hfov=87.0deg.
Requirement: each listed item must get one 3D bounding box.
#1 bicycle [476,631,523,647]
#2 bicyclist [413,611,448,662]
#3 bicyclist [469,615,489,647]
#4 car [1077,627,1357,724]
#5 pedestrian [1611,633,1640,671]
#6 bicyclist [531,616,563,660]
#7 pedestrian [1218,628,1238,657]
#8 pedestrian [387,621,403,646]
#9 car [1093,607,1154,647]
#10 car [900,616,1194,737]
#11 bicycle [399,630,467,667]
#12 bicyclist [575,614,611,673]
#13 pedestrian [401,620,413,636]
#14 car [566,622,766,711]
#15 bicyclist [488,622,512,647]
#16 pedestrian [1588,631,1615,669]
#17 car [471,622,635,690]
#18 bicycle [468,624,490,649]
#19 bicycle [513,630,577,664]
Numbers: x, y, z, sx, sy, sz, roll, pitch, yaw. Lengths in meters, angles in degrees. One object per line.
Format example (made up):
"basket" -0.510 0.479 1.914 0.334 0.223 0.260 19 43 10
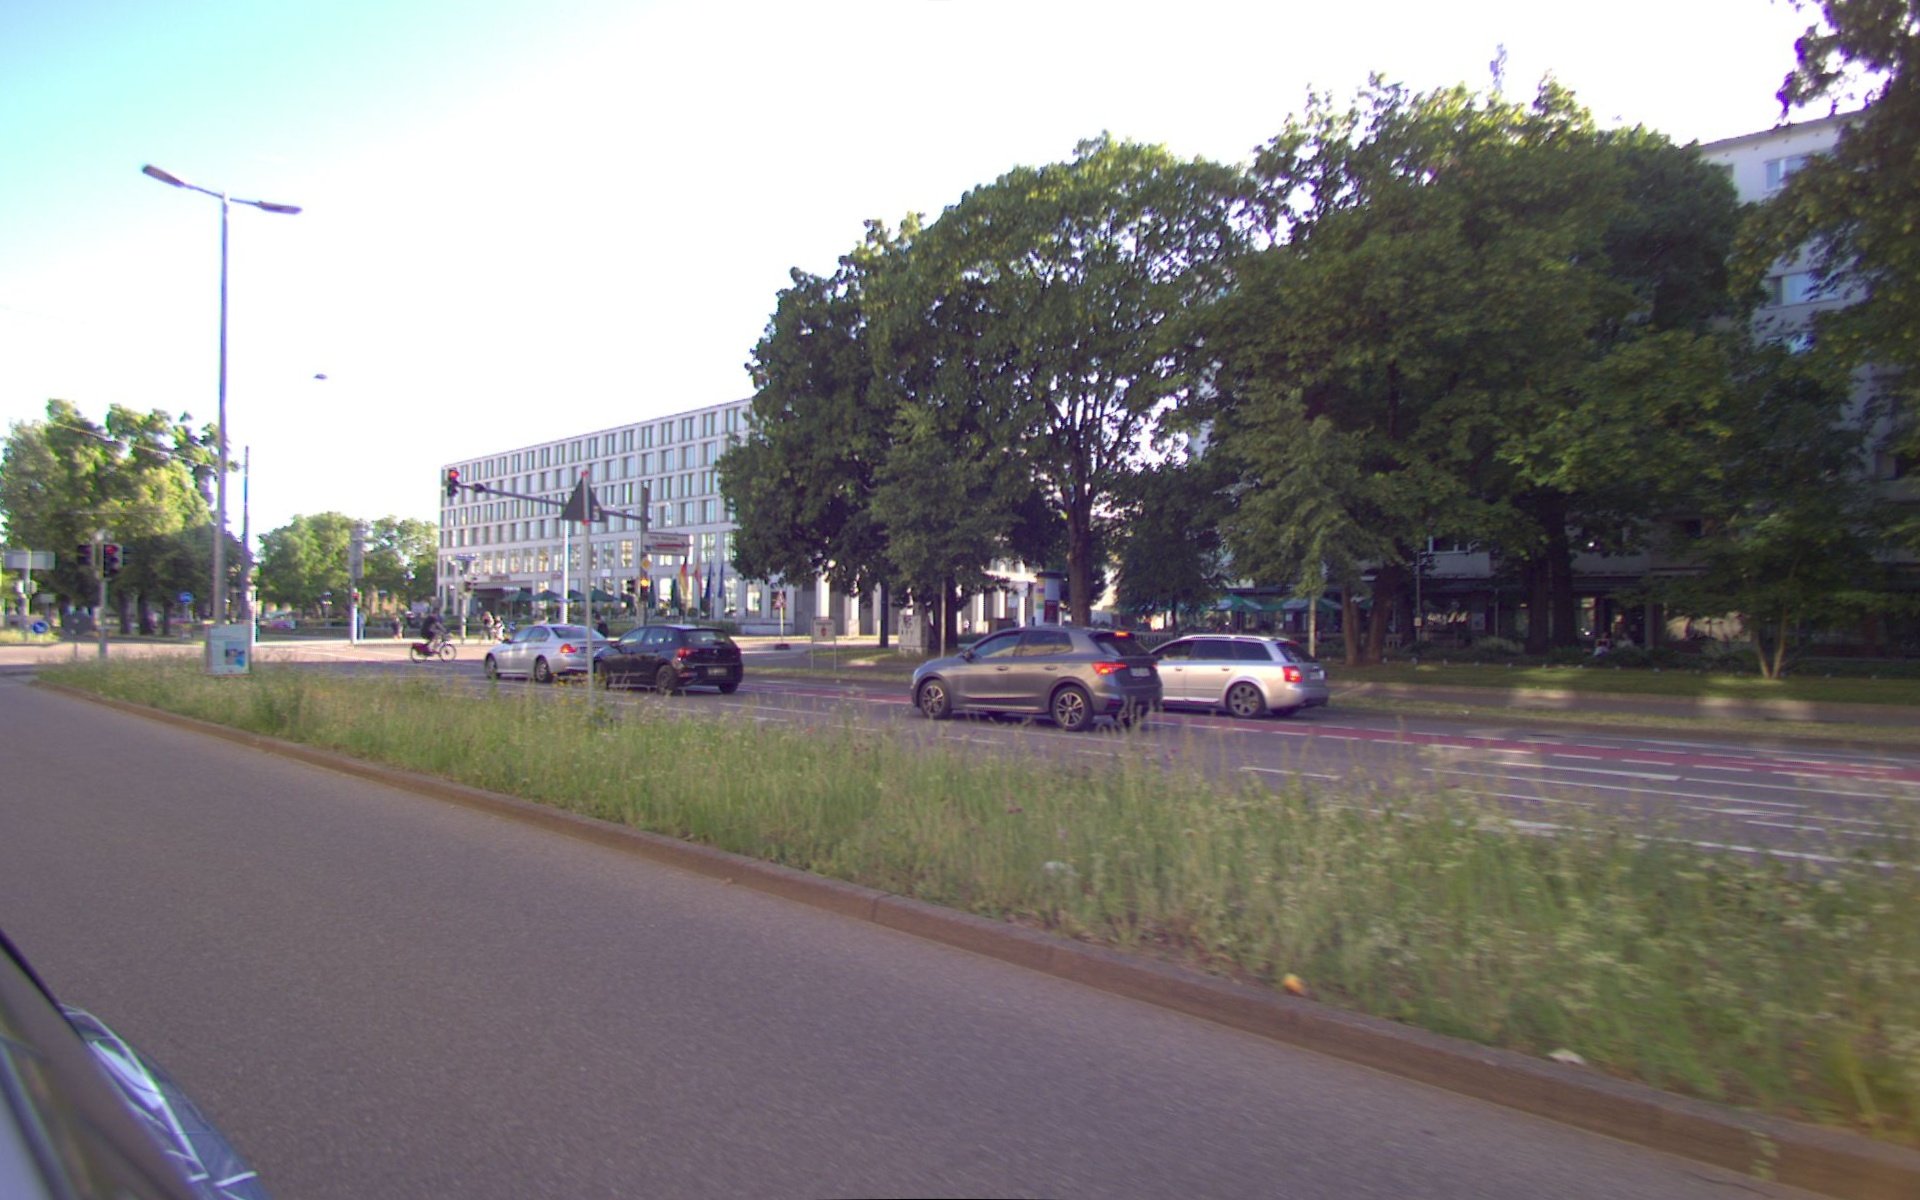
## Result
"bicycle" -26.289 2.223 57.770 0.843 0.858 2.304 -1 -2 40
"bicyclist" -18.827 1.302 35.982 0.754 1.756 0.827 1 -1 41
"bicyclist" -24.675 1.581 51.911 0.837 1.631 0.976 1 -2 -20
"car" 4.573 1.291 18.429 4.586 1.538 1.912 -1 -3 42
"pedestrian" 24.135 1.872 36.699 0.716 1.350 0.817 -1 -2 44
"bicyclist" -16.501 1.516 40.412 0.775 1.703 0.913 1 0 41
"pedestrian" 12.436 1.975 46.974 0.599 1.350 0.723 -1 -2 44
"pedestrian" -34.293 2.042 61.421 0.602 1.537 0.616 -1 -2 36
"car" 12.783 2.082 78.735 2.597 2.975 5.023 -1 -2 38
"car" 1.226 1.050 15.263 4.059 1.576 1.973 -1 -2 41
"bicycle" -18.772 1.702 36.071 0.778 1.249 1.993 1 -1 40
"bicyclist" -10.814 1.284 29.790 0.771 1.692 0.841 3 -3 -35
"pedestrian" -54.200 2.778 99.190 0.762 1.537 0.774 -1 -2 41
"car" -6.371 1.333 21.663 4.547 1.688 1.972 -1 -2 41
"bicyclist" -26.276 1.963 57.789 0.826 1.372 0.960 -1 -2 40
"pedestrian" 23.586 1.833 37.211 0.665 1.350 0.895 -1 -2 44
"car" -10.376 1.387 25.629 4.547 1.572 1.972 -1 -4 41
"bicycle" -24.688 1.872 51.943 0.832 1.240 2.021 1 -2 -20
"bicycle" -16.540 1.850 40.386 0.778 1.249 2.281 1 0 40
